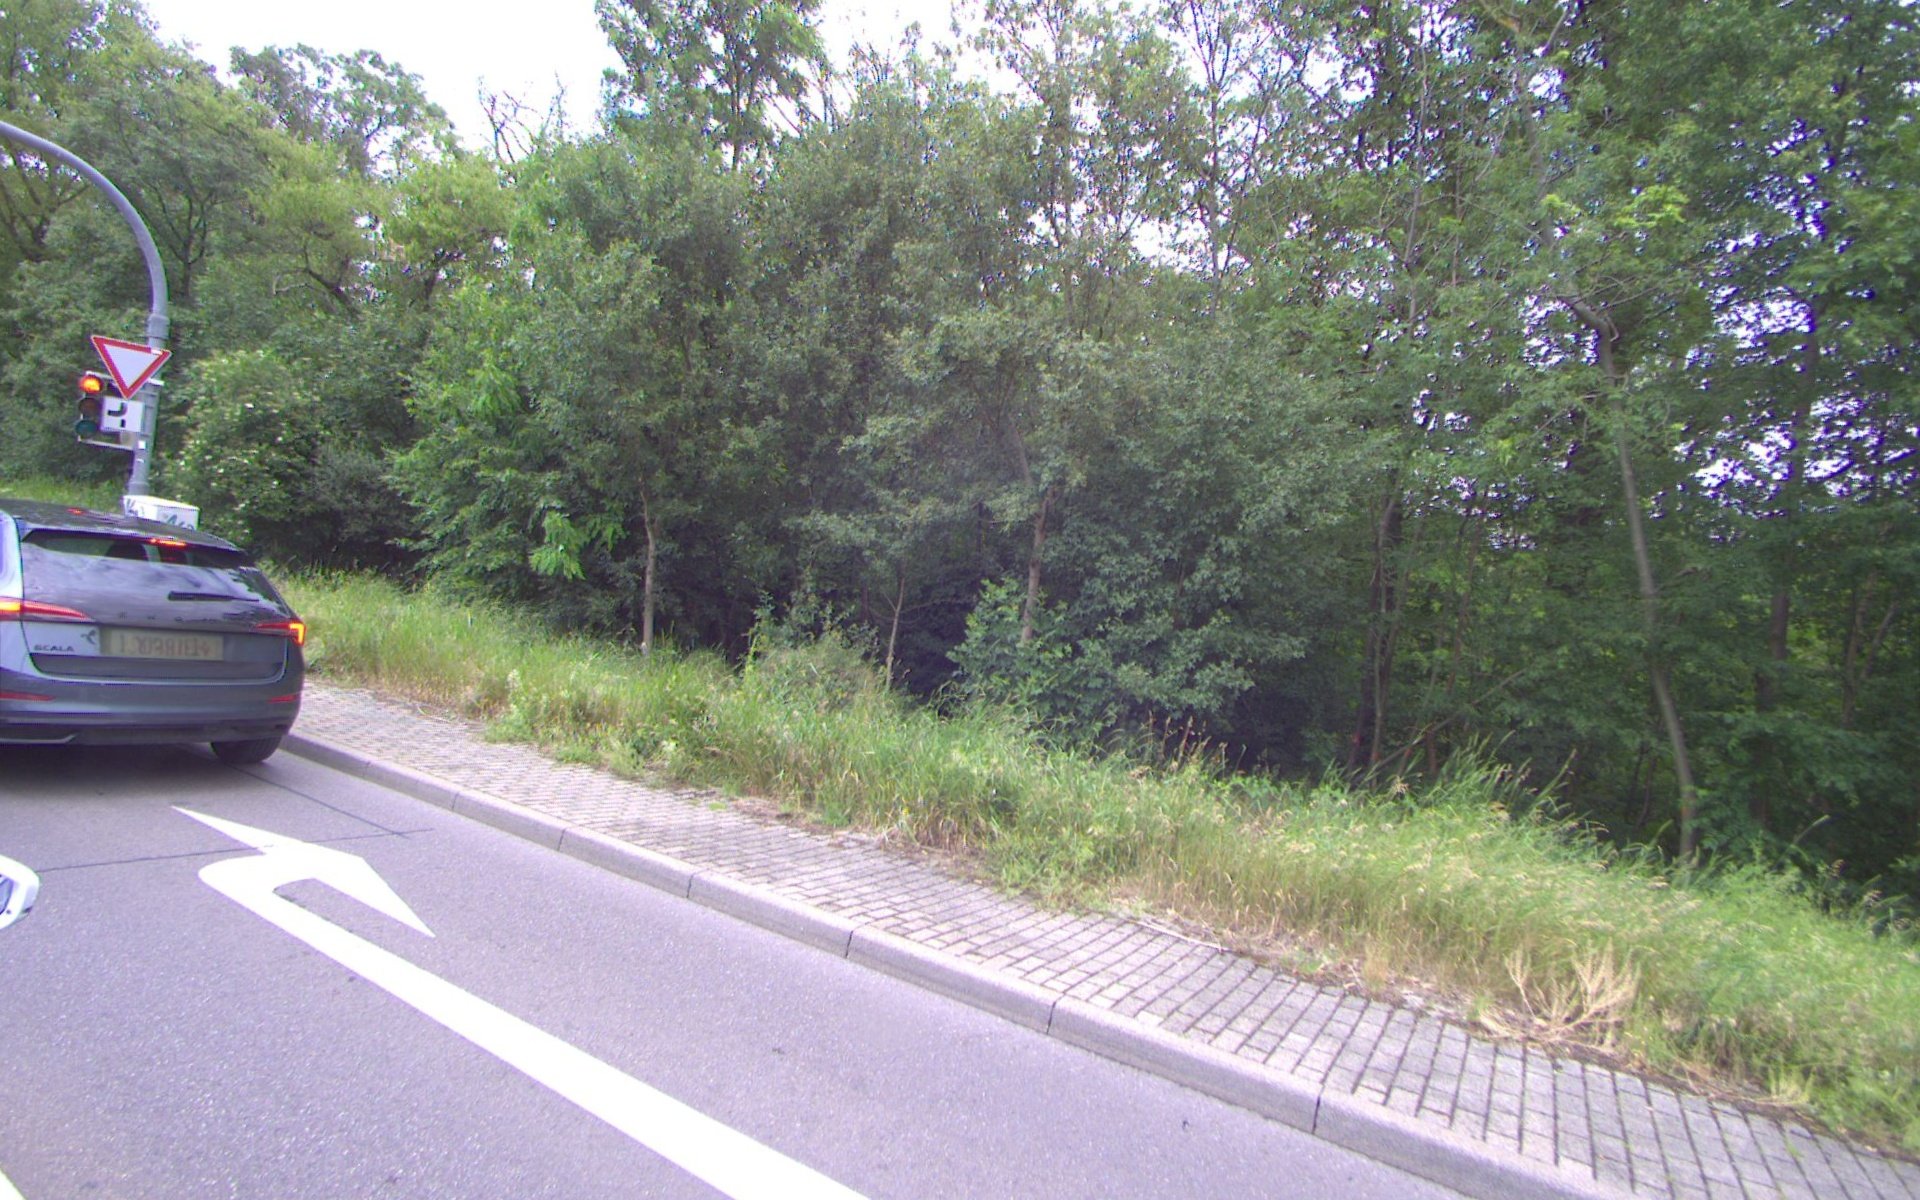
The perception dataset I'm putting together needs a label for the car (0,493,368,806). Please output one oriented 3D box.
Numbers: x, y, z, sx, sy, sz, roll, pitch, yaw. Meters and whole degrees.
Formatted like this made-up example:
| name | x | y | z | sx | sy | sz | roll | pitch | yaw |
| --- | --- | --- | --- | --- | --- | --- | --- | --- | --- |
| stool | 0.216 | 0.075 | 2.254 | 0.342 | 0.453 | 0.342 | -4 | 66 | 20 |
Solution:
| name | x | y | z | sx | sy | sz | roll | pitch | yaw |
| --- | --- | --- | --- | --- | --- | --- | --- | --- | --- |
| car | -5.829 | 0.101 | 6.384 | 3.933 | 1.468 | 1.796 | 7 | -1 | 31 |
